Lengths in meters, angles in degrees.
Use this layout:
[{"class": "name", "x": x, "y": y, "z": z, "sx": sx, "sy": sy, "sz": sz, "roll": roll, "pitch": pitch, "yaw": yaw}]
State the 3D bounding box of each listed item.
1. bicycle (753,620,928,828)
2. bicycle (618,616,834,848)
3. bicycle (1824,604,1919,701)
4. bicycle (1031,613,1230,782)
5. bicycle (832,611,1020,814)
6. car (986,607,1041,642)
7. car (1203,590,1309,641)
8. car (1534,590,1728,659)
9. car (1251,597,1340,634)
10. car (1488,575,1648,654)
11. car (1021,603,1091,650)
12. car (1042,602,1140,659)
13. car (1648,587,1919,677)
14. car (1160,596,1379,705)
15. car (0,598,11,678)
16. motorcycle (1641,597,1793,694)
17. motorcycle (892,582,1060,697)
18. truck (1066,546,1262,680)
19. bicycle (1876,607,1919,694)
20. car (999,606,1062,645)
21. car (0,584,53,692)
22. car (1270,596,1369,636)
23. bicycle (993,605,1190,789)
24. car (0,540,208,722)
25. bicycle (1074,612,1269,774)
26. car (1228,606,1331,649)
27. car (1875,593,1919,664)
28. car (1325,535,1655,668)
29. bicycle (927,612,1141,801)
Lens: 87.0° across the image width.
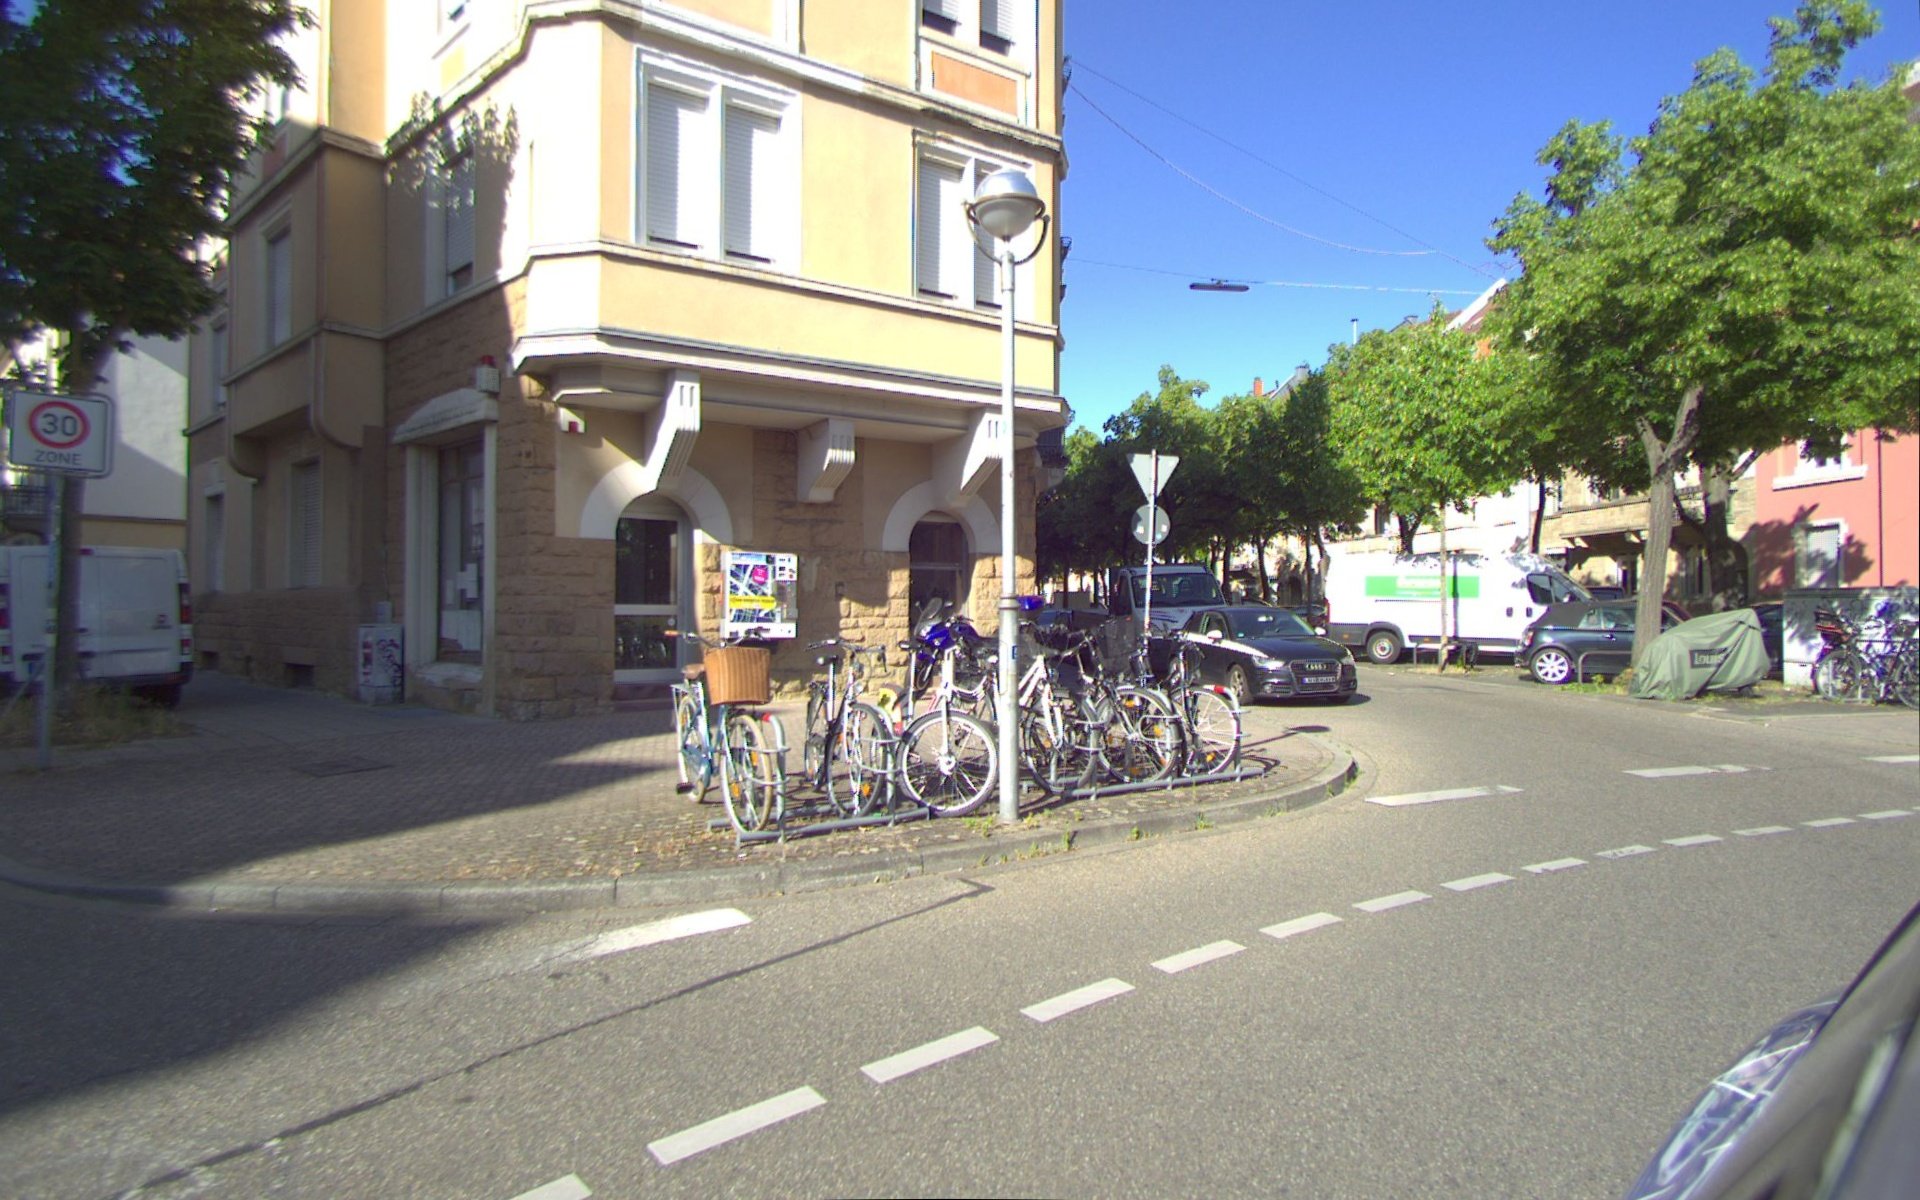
[{"class": "bicycle", "x": -0.833, "y": 0.697, "z": 6.517, "sx": 0.525, "sy": 1.104, "sz": 1.882, "roll": 0, "pitch": 0, "yaw": -26}, {"class": "bicycle", "x": -1.472, "y": 0.681, "z": 6.077, "sx": 0.686, "sy": 1.144, "sz": 1.868, "roll": -1, "pitch": 0, "yaw": -32}, {"class": "bicycle", "x": 12.356, "y": 0.666, "z": 13.275, "sx": 0.528, "sy": 1.208, "sz": 1.681, "roll": -1, "pitch": 0, "yaw": -3}, {"class": "bicycle", "x": 1.255, "y": 0.677, "z": 7.782, "sx": 0.474, "sy": 1.137, "sz": 1.697, "roll": 0, "pitch": 0, "yaw": -34}, {"class": "bicycle", "x": -0.288, "y": 0.665, "z": 6.811, "sx": 0.625, "sy": 1.160, "sz": 1.699, "roll": 0, "pitch": 0, "yaw": -26}, {"class": "car", "x": 2.283, "y": 1.038, "z": 44.301, "sx": 1.654, "sy": 1.407, "sz": 3.927, "roll": -1, "pitch": 0, "yaw": -8}, {"class": "car", "x": 10.490, "y": 0.542, "z": 35.801, "sx": 3.455, "sy": 1.686, "sz": 1.676, "roll": 1, "pitch": -1, "yaw": 22}, {"class": "car", "x": 15.502, "y": 0.542, "z": 23.550, "sx": 3.330, "sy": 1.465, "sz": 1.683, "roll": 1, "pitch": -1, "yaw": 10}, {"class": "car", "x": 14.468, "y": 0.644, "z": 43.674, "sx": 3.361, "sy": 1.489, "sz": 1.667, "roll": 1, "pitch": -1, "yaw": 35}, {"class": "car", "x": 15.549, "y": 0.338, "z": 26.080, "sx": 3.349, "sy": 1.889, "sz": 1.673, "roll": 1, "pitch": -1, "yaw": 26}, {"class": "car", "x": 3.080, "y": 0.821, "z": 33.239, "sx": 1.655, "sy": 1.407, "sz": 4.005, "roll": -1, "pitch": 0, "yaw": -3}, {"class": "car", "x": 3.479, "y": 0.780, "z": 27.550, "sx": 1.654, "sy": 1.407, "sz": 3.927, "roll": -1, "pitch": 0, "yaw": -8}, {"class": "car", "x": 15.125, "y": 0.549, "z": 18.526, "sx": 3.875, "sy": 1.465, "sz": 1.676, "roll": 1, "pitch": -1, "yaw": 22}, {"class": "car", "x": 4.506, "y": 0.670, "z": 15.387, "sx": 1.654, "sy": 1.407, "sz": 3.927, "roll": -1, "pitch": 0, "yaw": -8}, {"class": "car", "x": -19.158, "y": 0.701, "z": 18.919, "sx": 3.316, "sy": 1.446, "sz": 1.615, "roll": -1, "pitch": -1, "yaw": 39}, {"class": "motorcycle", "x": 10.607, "y": 0.623, "z": 14.208, "sx": 1.680, "sy": 1.286, "sz": 0.538, "roll": 1, "pitch": 0, "yaw": 2}, {"class": "motorcycle", "x": 0.237, "y": 0.521, "z": 13.473, "sx": 2.207, "sy": 1.429, "sz": 0.700, "roll": 2, "pitch": -1, "yaw": -35}, {"class": "truck", "x": 3.967, "y": 0.233, "z": 21.189, "sx": 2.096, "sy": 2.321, "sz": 6.628, "roll": -1, "pitch": 0, "yaw": -6}, {"class": "bicycle", "x": 13.125, "y": 0.687, "z": 13.344, "sx": 0.578, "sy": 1.141, "sz": 1.603, "roll": -1, "pitch": 0, "yaw": -3}, {"class": "car", "x": 2.660, "y": 0.953, "z": 39.277, "sx": 1.654, "sy": 1.407, "sz": 3.927, "roll": -1, "pitch": 0, "yaw": -8}, {"class": "car", "x": -15.755, "y": 0.573, "z": 15.938, "sx": 3.719, "sy": 1.593, "sz": 1.615, "roll": -1, "pitch": -1, "yaw": 39}, {"class": "car", "x": 14.213, "y": 0.612, "z": 40.031, "sx": 3.361, "sy": 1.489, "sz": 1.667, "roll": 1, "pitch": -1, "yaw": 35}, {"class": "bicycle", "x": 0.922, "y": 0.647, "z": 7.521, "sx": 0.443, "sy": 1.207, "sz": 1.697, "roll": 0, "pitch": 0, "yaw": -34}, {"class": "car", "x": -11.572, "y": 0.344, "z": 12.770, "sx": 4.533, "sy": 1.933, "sz": 2.114, "roll": -1, "pitch": -1, "yaw": 36}, {"class": "bicycle", "x": 1.632, "y": 0.676, "z": 8.086, "sx": 0.474, "sy": 1.137, "sz": 1.720, "roll": 0, "pitch": 0, "yaw": -31}, {"class": "car", "x": 11.992, "y": 1.016, "z": 38.014, "sx": 3.361, "sy": 1.489, "sz": 1.667, "roll": 1, "pitch": -1, "yaw": 35}, {"class": "car", "x": 22.381, "y": 0.646, "z": 21.563, "sx": 1.655, "sy": 1.582, "sz": 4.298, "roll": 1, "pitch": 0, "yaw": -4}, {"class": "car", "x": 11.777, "y": -0.009, "z": 22.831, "sx": 6.340, "sy": 2.633, "sz": 2.075, "roll": 1, "pitch": -1, "yaw": 37}, {"class": "bicycle", "x": 0.469, "y": 0.672, "z": 7.200, "sx": 0.605, "sy": 1.160, "sz": 1.697, "roll": 0, "pitch": 0, "yaw": -34}]
